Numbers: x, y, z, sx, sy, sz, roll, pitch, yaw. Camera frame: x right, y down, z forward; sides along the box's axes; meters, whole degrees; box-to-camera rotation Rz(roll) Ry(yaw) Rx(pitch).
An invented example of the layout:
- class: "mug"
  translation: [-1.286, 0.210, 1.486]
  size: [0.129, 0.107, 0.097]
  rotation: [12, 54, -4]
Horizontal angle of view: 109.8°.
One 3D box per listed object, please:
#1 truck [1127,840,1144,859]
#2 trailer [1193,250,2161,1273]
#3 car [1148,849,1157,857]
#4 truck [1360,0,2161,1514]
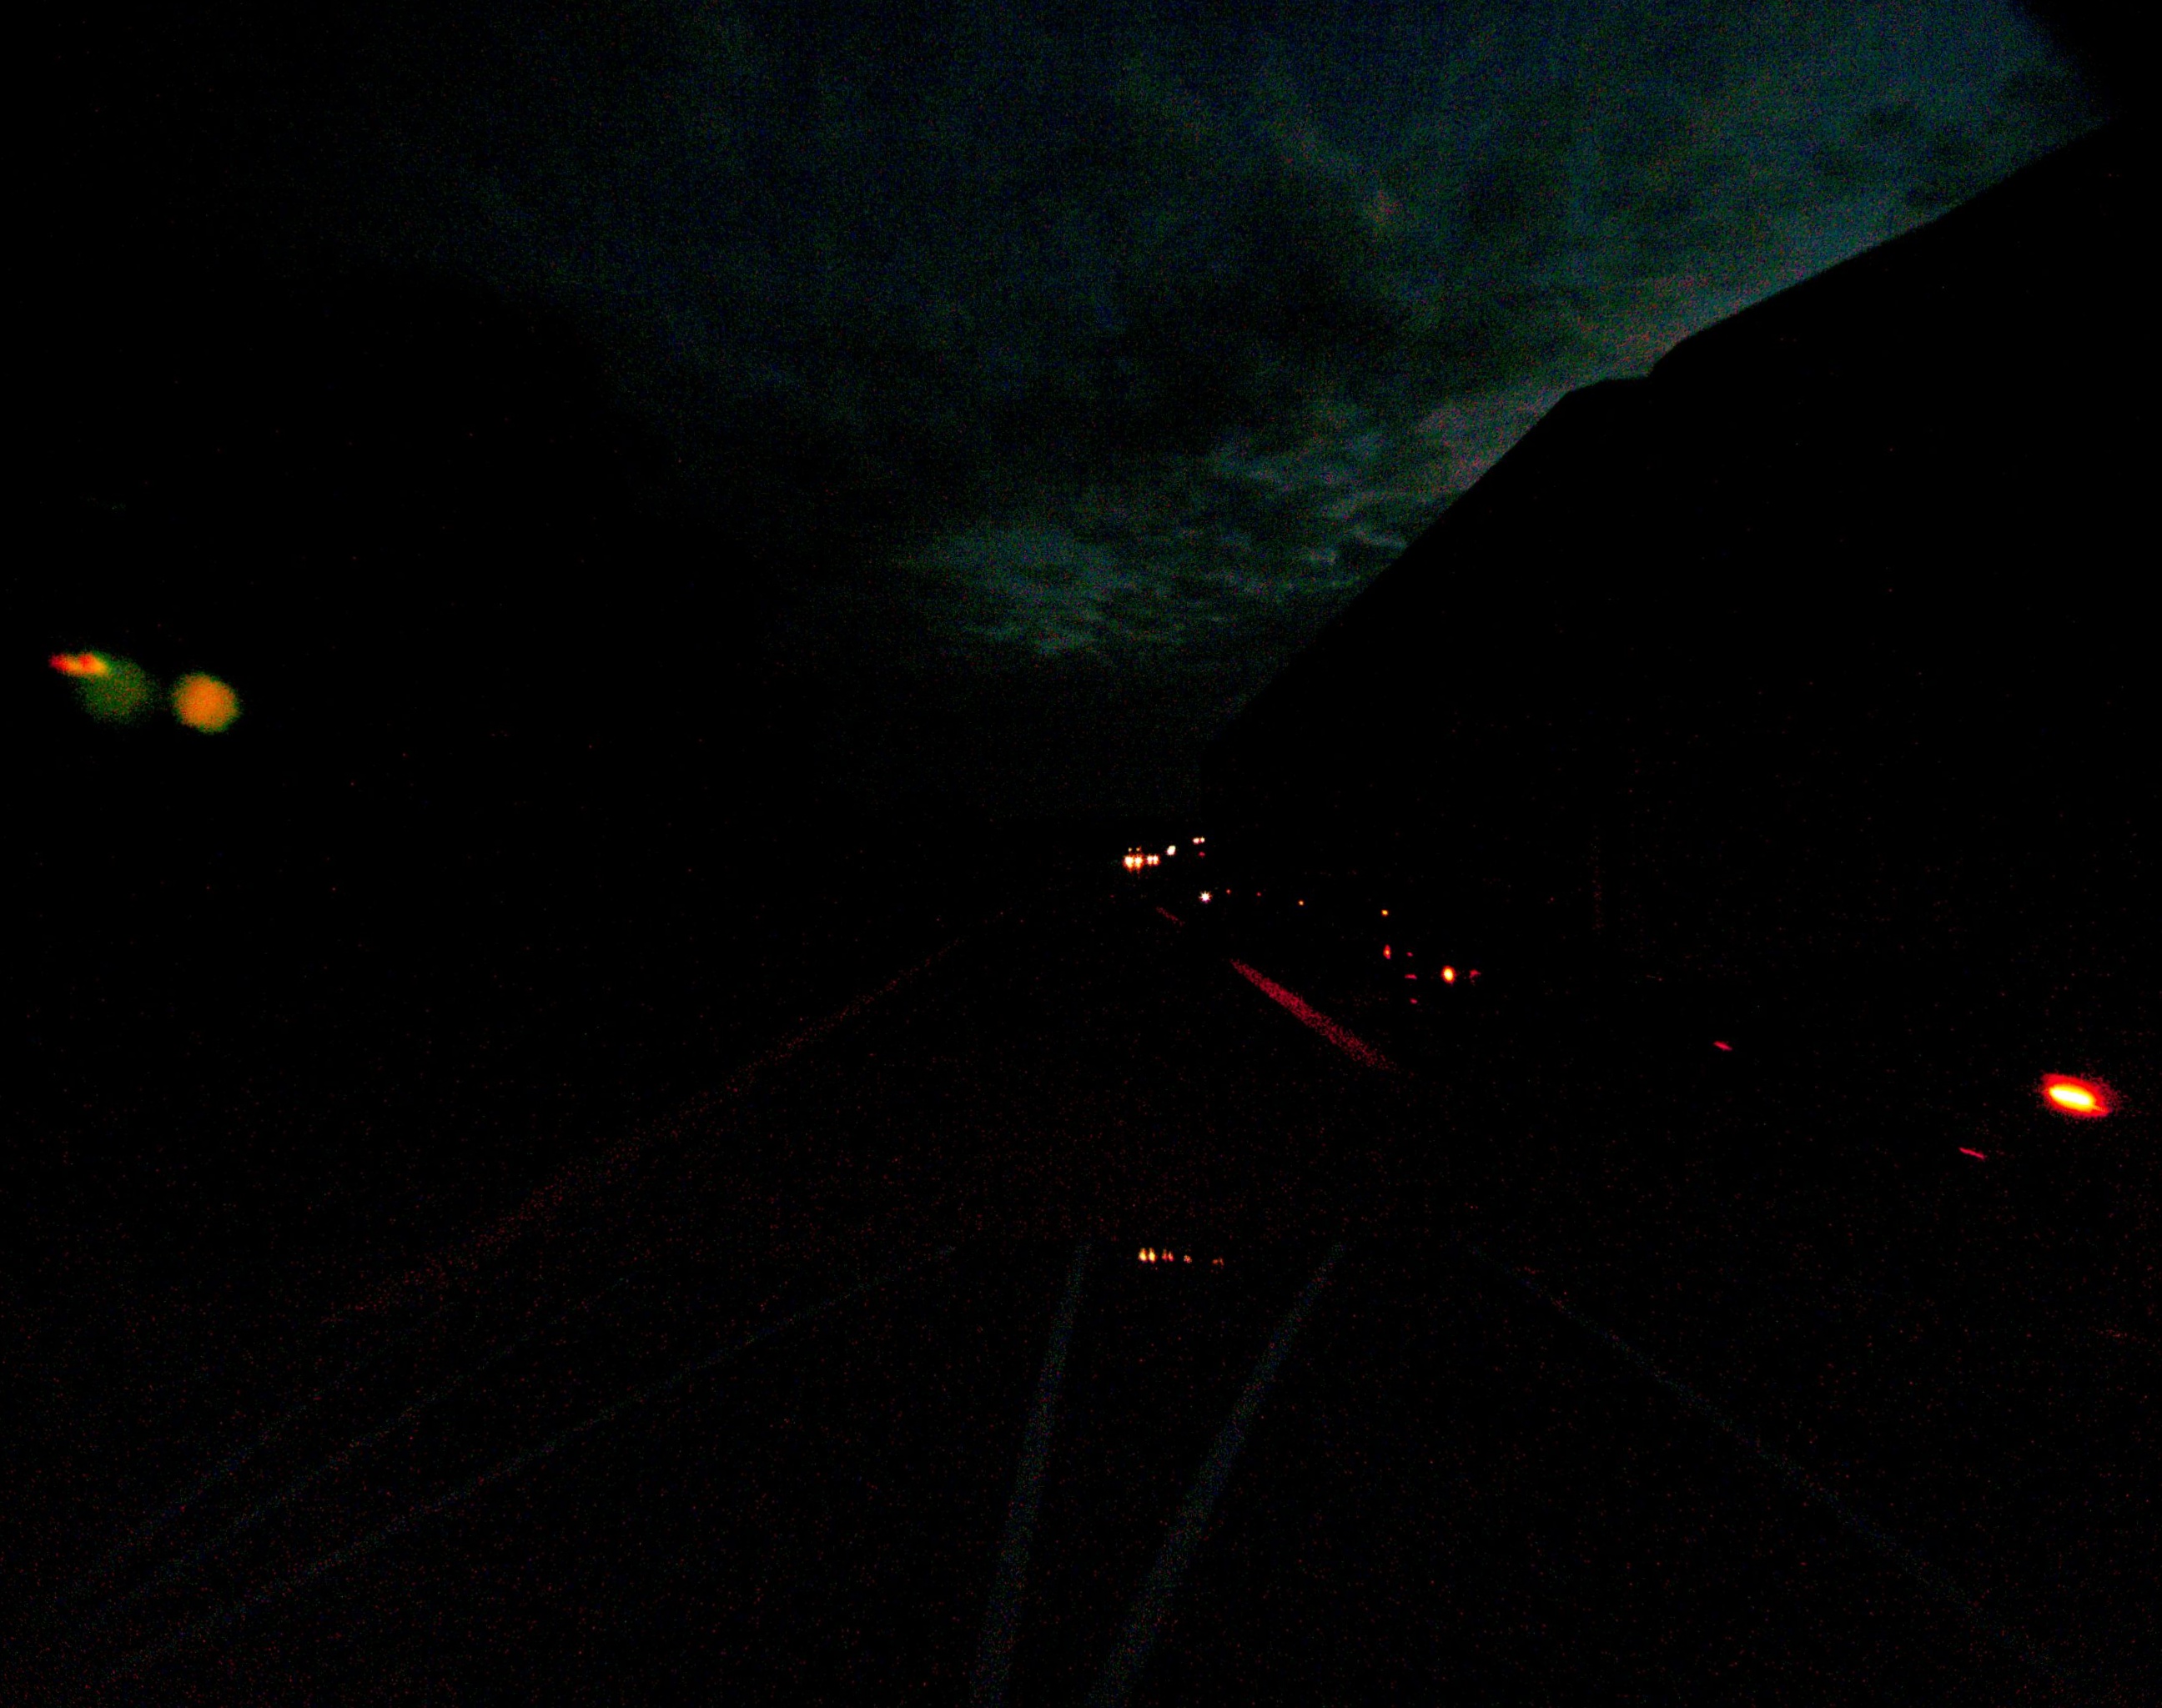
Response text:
- class: "truck"
  translation: [12.865, -0.978, 181.082]
  size: [3.352, 4.293, 11.325]
  rotation: [-1, 0, 2]
- class: "trailer"
  translation: [4.016, -0.362, 10.337]
  size: [2.781, 3.892, 14.818]
  rotation: [-2, 0, 0]
- class: "car"
  translation: [19.756, -0.292, 210.231]
  size: [1.998, 2.002, 4.000]
  rotation: [-1, 0, 1]
- class: "truck"
  translation: [3.993, -0.363, 3.904]
  size: [2.786, 3.879, 6.154]
  rotation: [-2, 0, 0]
